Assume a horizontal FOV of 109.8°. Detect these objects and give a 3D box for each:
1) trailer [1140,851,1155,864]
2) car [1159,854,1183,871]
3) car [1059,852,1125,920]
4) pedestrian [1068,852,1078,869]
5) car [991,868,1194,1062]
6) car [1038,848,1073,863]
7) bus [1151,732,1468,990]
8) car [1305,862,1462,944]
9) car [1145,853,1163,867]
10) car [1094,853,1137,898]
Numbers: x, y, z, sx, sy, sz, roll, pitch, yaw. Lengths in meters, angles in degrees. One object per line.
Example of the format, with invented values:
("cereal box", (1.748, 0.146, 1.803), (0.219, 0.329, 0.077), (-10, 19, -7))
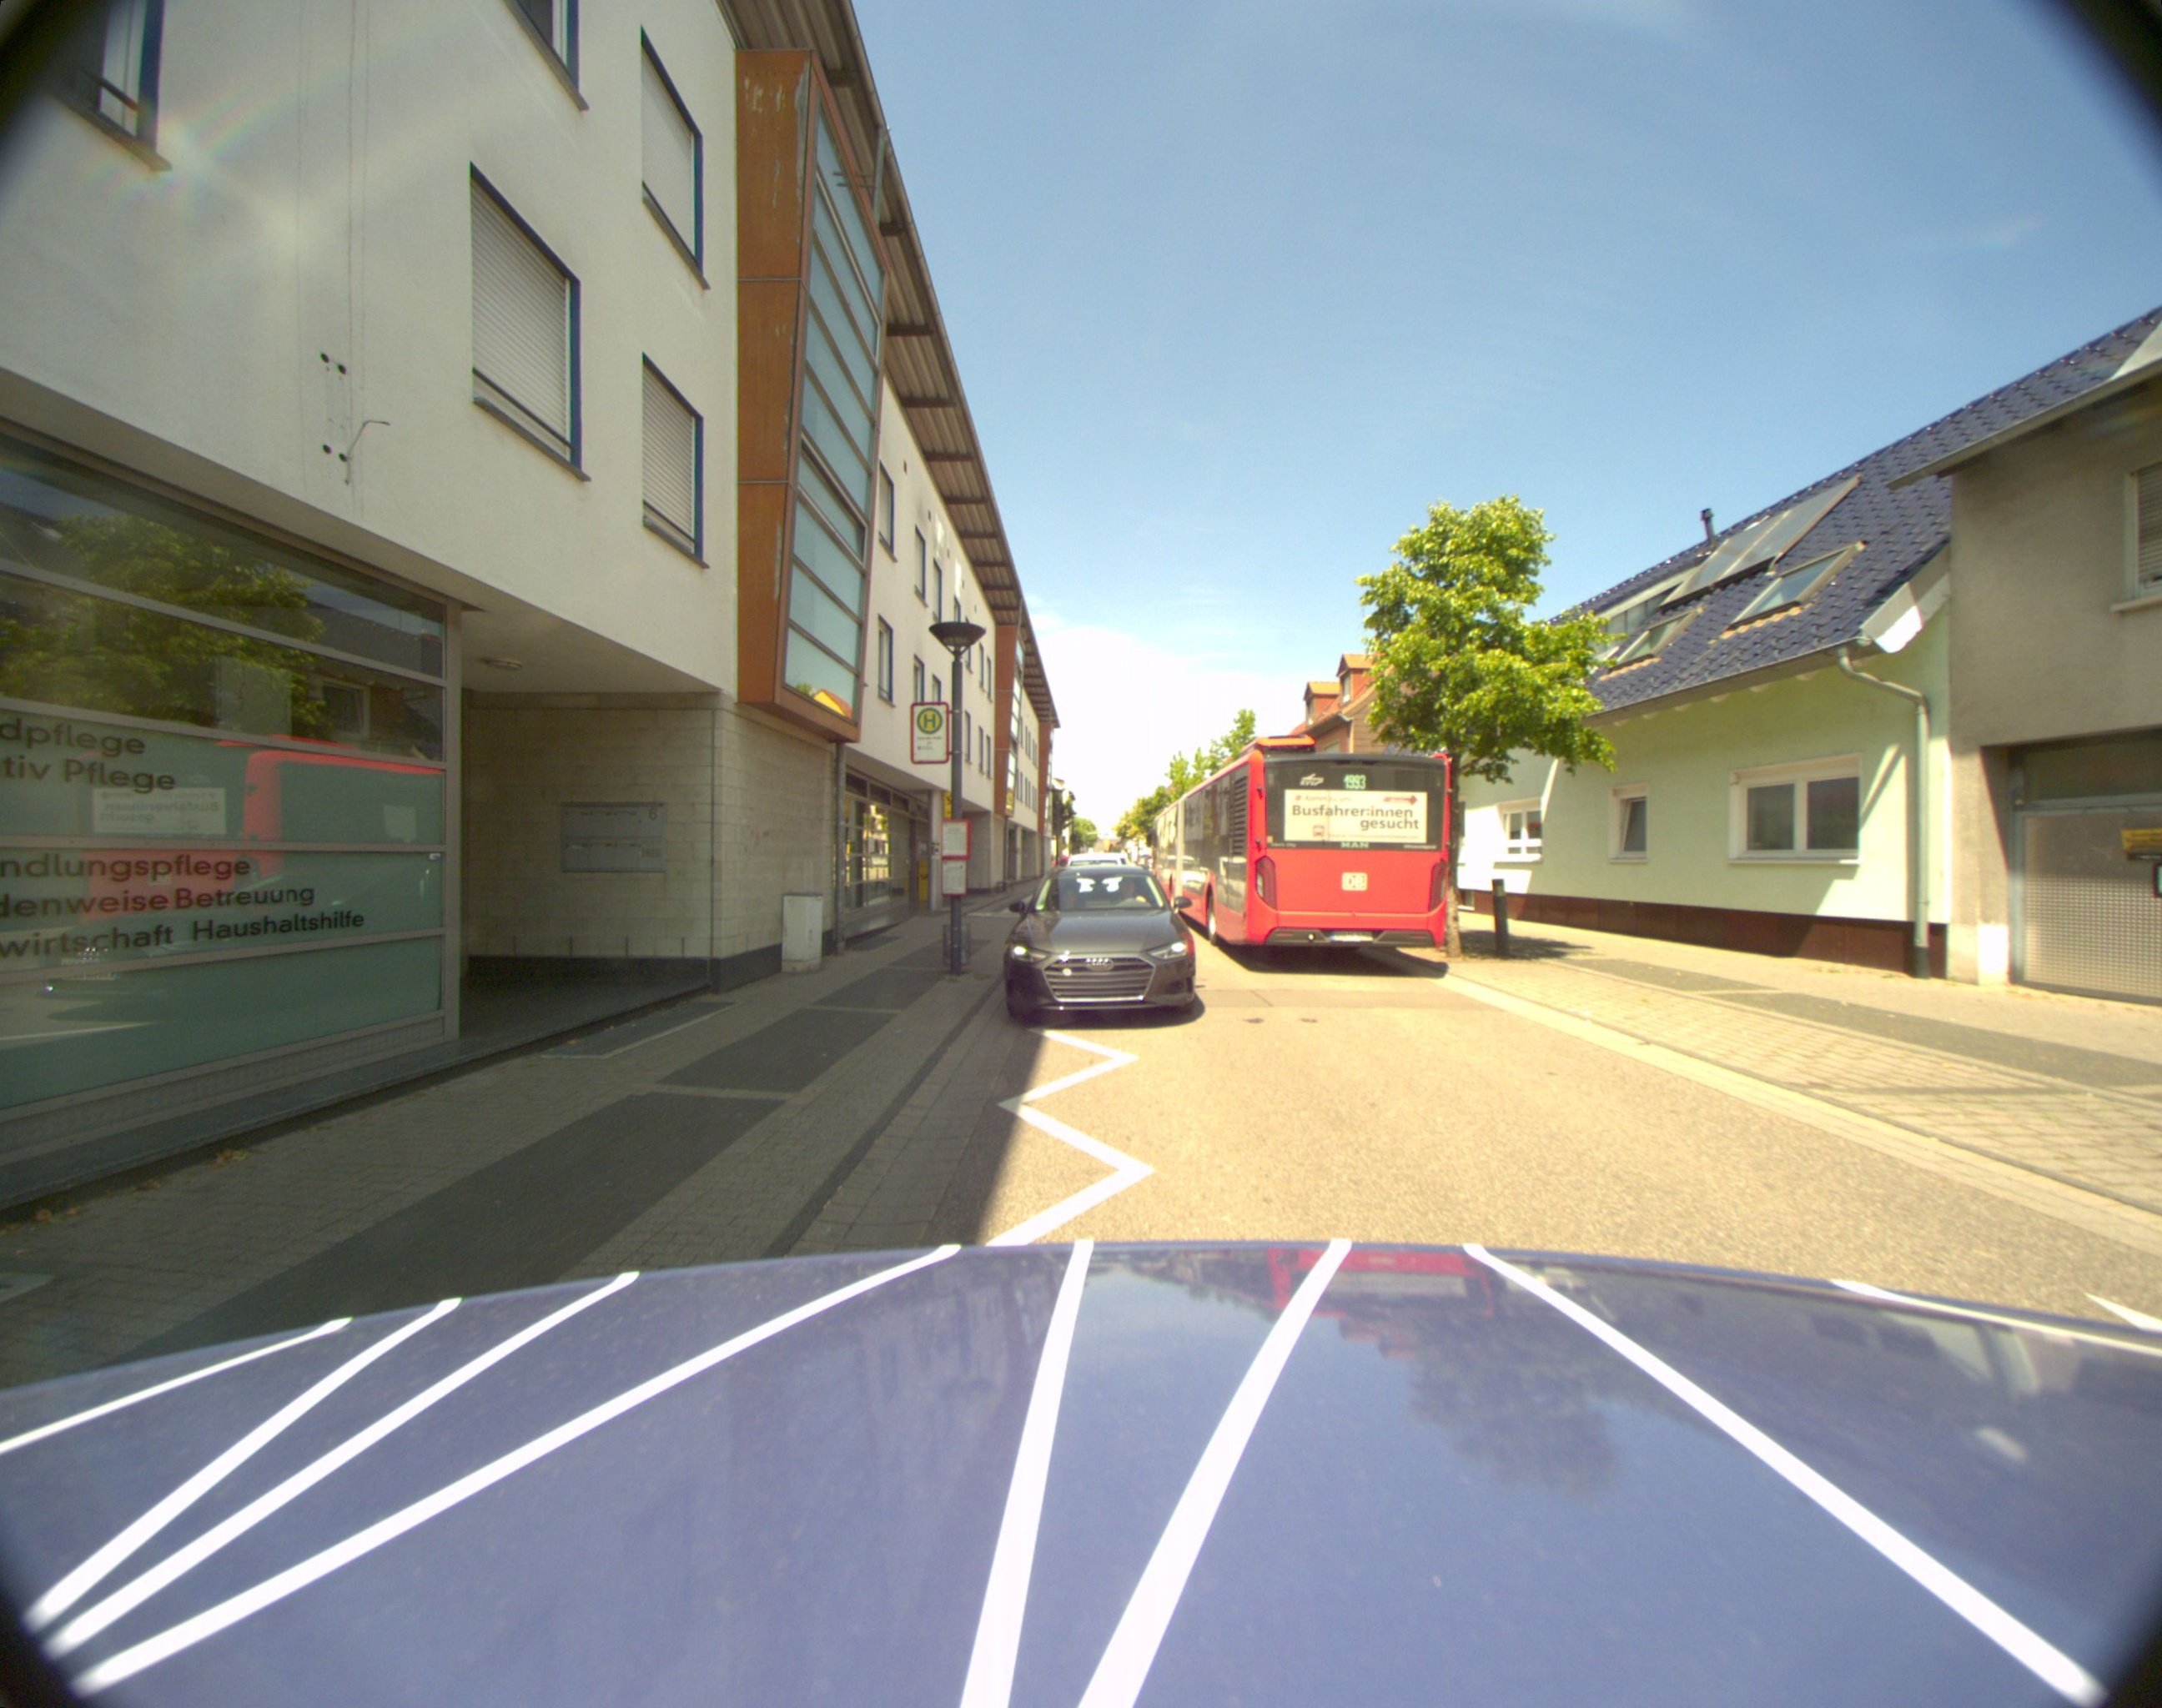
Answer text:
("trailer", (8.423, 0.470, 96.673), (1.493, 1.571, 3.883), (-3, 0, -1))
("car", (7.588, 0.720, 64.296), (1.660, 1.399, 4.158), (0, 0, 2))
("car", (0.314, 0.768, 20.420), (1.581, 1.620, 4.065), (1, 0, 1))
("pedestrian", (-0.764, 0.619, 74.668), (0.825, 1.579, 0.919), (3, 1, 2))
("car", (0.133, 0.925, 8.094), (1.581, 1.424, 4.065), (-2, 0, 1))
("car", (-3.133, 0.191, 93.585), (4.203, 1.849, 2.000), (1, 0, 1))
("bus", (3.585, 0.053, 18.159), (2.675, 3.105, 17.807), (1, 0, 2))
("car", (6.180, 0.918, 16.114), (1.664, 1.428, 4.539), (0, 0, 2))
("car", (8.065, 0.627, 84.221), (1.753, 1.566, 4.158), (0, 0, 2))
("car", (1.313, 0.796, 30.276), (1.581, 1.620, 4.065), (1, 0, 1))
